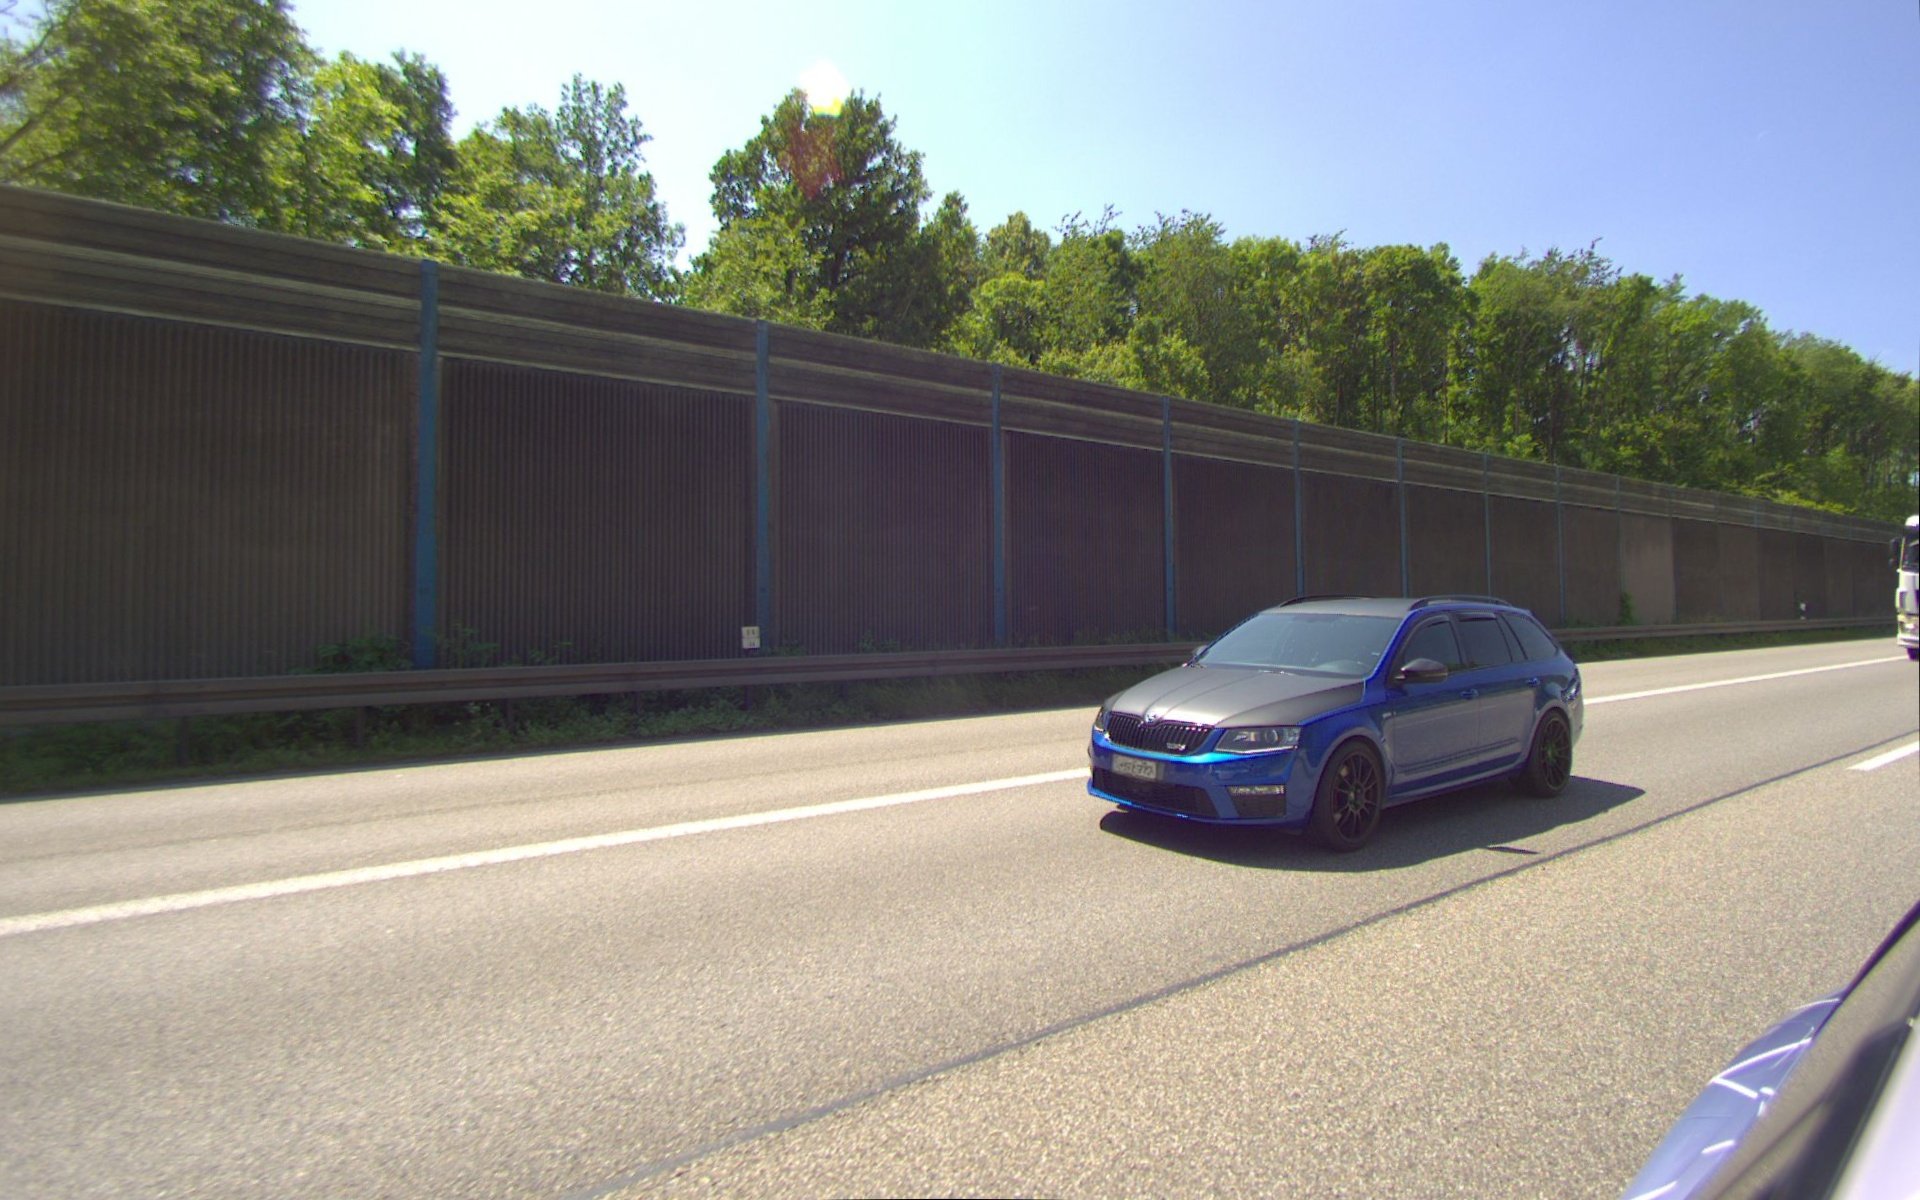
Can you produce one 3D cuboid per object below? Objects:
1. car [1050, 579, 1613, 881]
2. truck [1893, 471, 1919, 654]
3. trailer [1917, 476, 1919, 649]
[{"bbox_3d":[2.839,0.639,7.222,4.399,1.501,1.655,-2,1,-37],"label":"car"},{"bbox_3d":[25.209,-0.878,24.405,5.757,4.258,2.795,0,0,-35],"label":"truck"},{"bbox_3d":[29.731,-0.928,27.524,12.990,4.258,2.795,0,0,-35],"label":"trailer"}]
